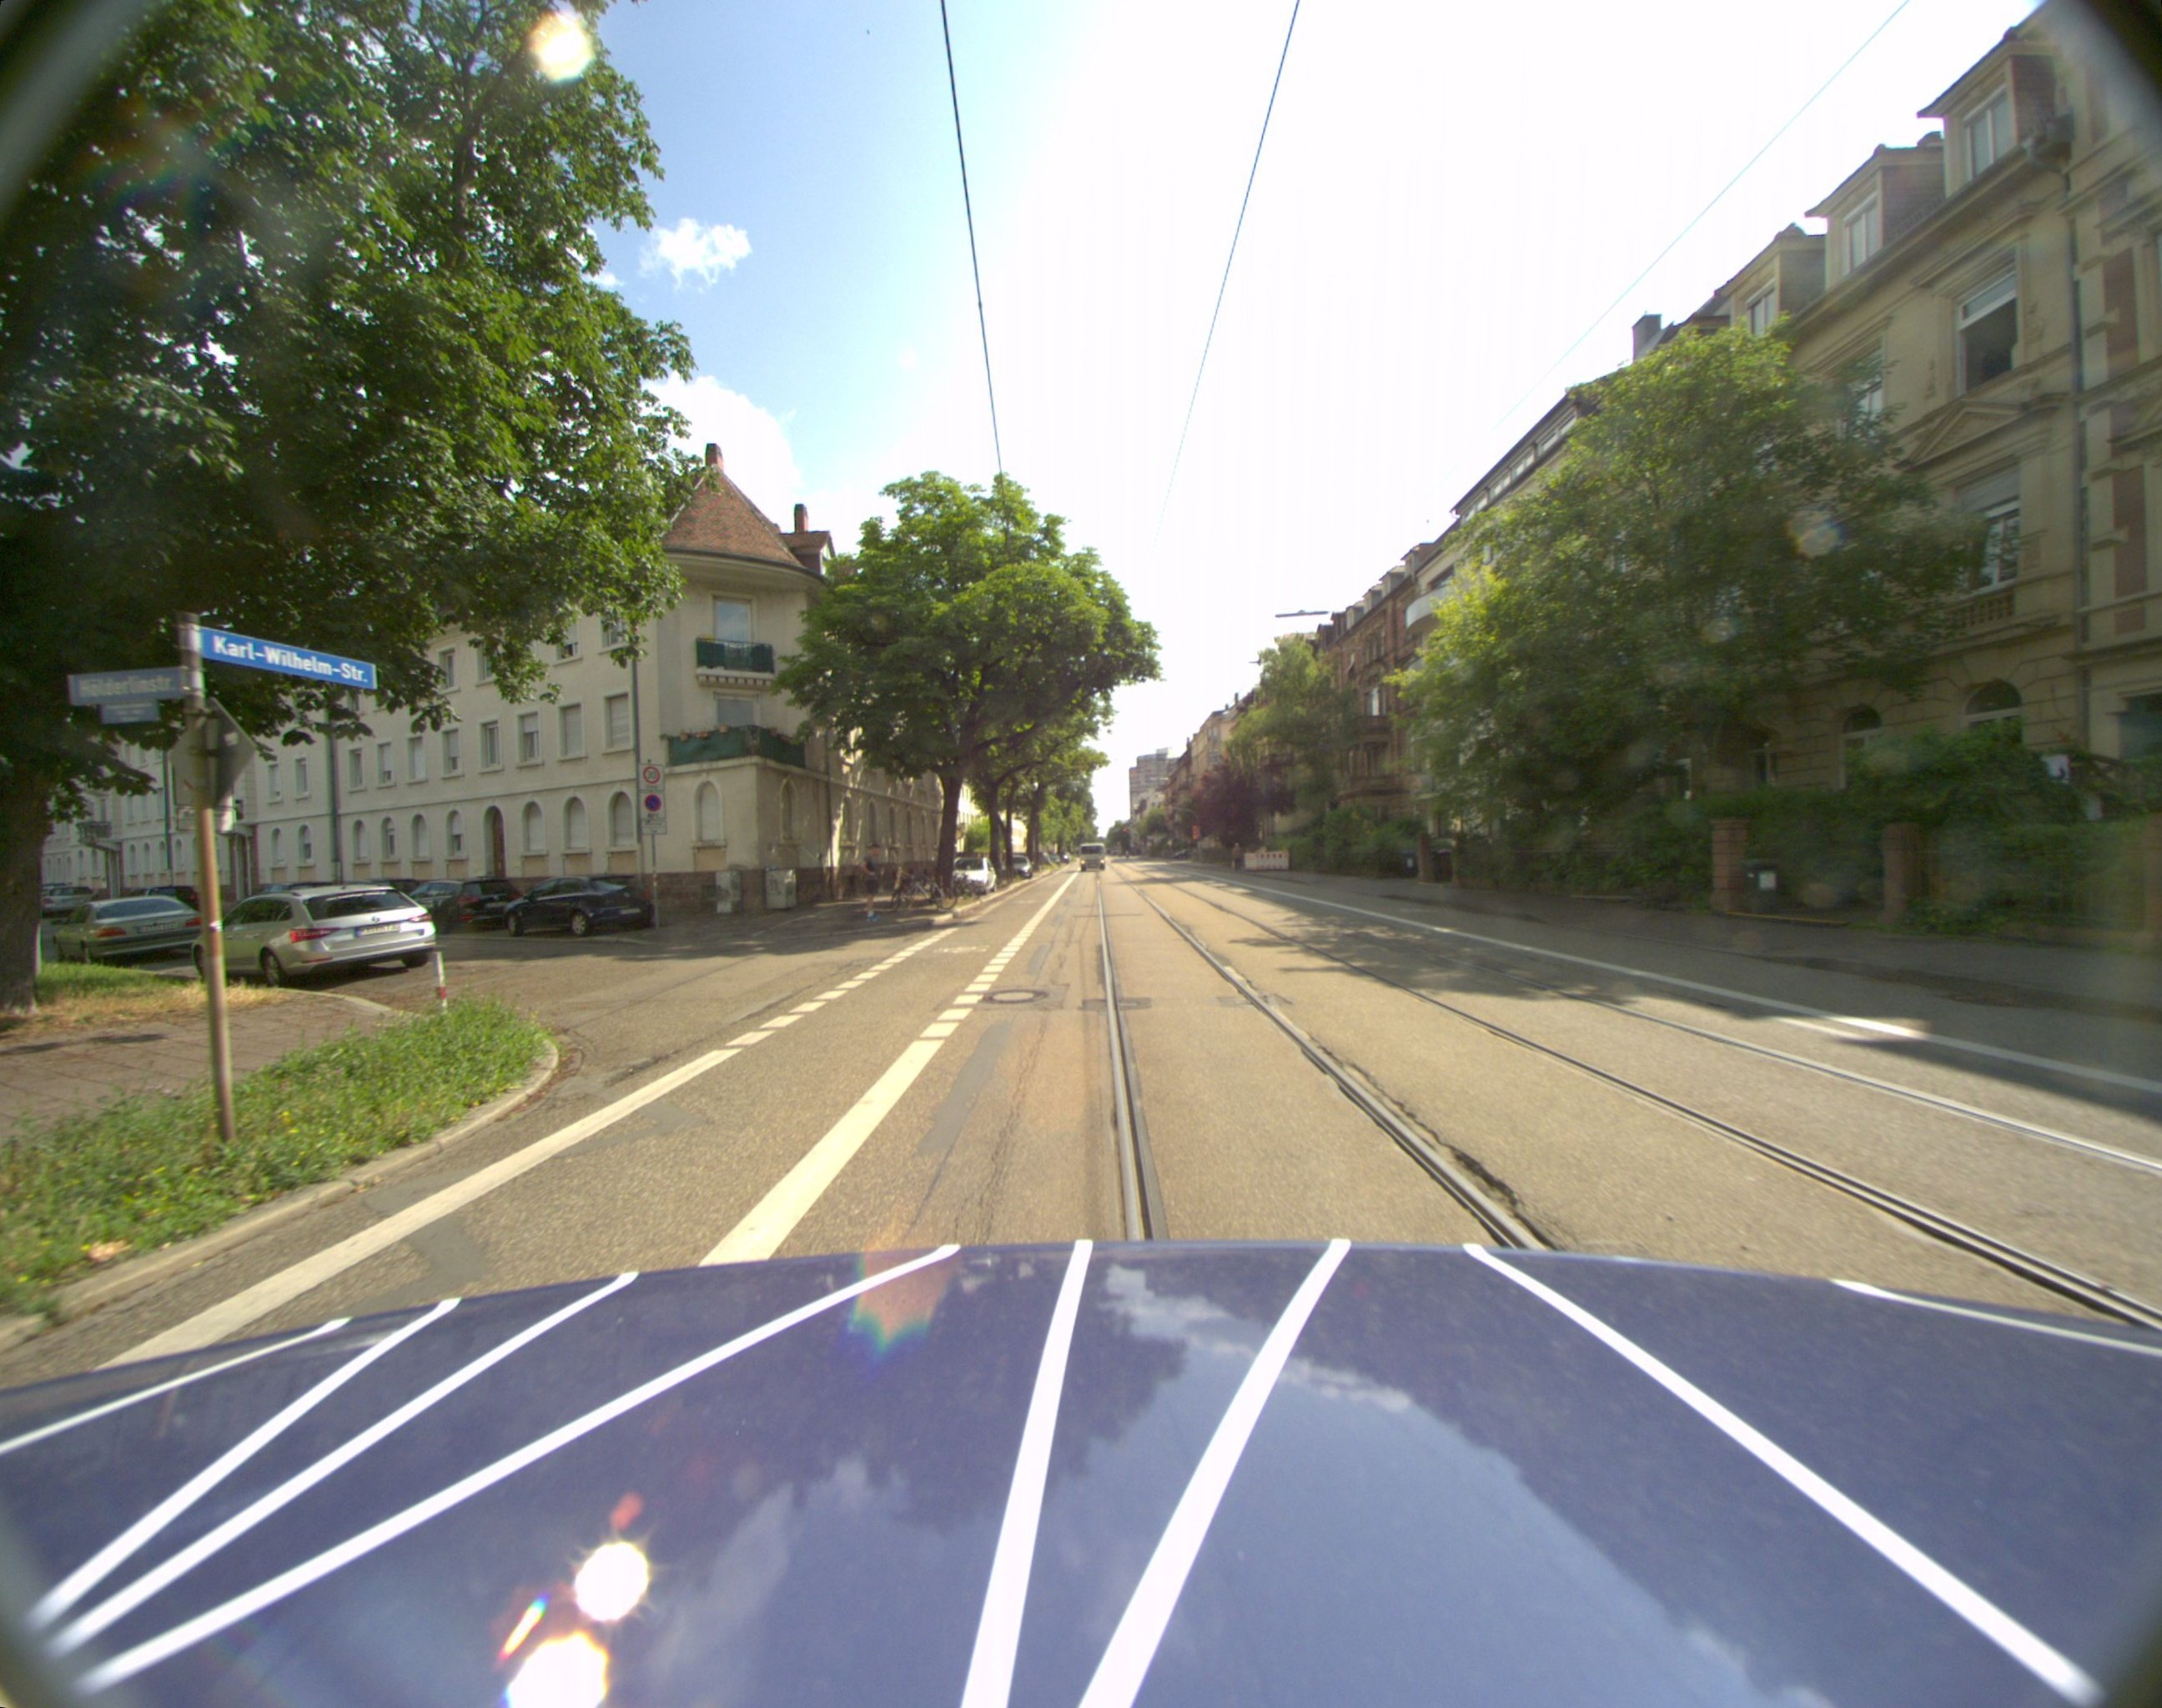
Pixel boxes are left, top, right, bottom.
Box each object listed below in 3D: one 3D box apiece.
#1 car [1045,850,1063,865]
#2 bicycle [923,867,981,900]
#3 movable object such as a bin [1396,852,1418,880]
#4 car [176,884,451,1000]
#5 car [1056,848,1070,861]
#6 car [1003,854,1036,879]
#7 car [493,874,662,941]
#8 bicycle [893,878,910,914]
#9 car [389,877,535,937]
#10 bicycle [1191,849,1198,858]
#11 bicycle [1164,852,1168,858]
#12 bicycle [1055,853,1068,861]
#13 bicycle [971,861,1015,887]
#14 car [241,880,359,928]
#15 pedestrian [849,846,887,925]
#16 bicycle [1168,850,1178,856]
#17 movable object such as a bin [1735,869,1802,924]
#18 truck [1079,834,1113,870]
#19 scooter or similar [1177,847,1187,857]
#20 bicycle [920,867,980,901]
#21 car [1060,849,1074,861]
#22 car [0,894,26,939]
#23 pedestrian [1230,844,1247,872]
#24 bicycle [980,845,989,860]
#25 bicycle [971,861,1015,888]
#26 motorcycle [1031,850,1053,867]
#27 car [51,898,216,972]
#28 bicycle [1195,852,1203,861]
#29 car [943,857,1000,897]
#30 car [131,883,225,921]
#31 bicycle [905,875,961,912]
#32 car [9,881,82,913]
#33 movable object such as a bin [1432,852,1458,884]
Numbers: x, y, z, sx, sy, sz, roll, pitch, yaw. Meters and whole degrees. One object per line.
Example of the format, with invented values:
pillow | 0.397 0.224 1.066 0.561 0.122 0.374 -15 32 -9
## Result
car | -2.993 0.397 86.099 1.710 1.470 4.196 -4 1 1
bicycle | -4.456 1.024 26.260 1.908 1.066 0.402 -2 1 1
movable object such as a bin | 12.960 0.468 30.228 0.539 1.088 0.789 -2 2 2
car | -12.628 1.313 12.459 4.563 1.467 1.872 -2 2 28
car | -2.484 0.060 106.119 1.831 1.772 4.733 -2 0 1
car | -3.782 0.740 47.475 1.851 1.401 4.393 0 1 -2
car | -12.169 1.254 18.390 3.556 1.398 1.711 -2 2 24
bicycle | -5.038 1.163 21.375 0.259 0.895 1.771 -1 1 -7
car | -16.957 1.419 20.801 3.710 1.416 1.665 -2 2 27
bicycle | 12.624 -0.082 84.533 0.531 0.941 1.968 -2 1 1
bicycle | 13.376 0.140 119.379 0.422 0.971 1.949 -2 0 0
bicycle | -2.549 0.384 101.036 1.712 1.001 0.638 -1 1 1
bicycle | -4.057 0.913 35.222 1.940 1.169 0.513 -1 2 13
car | -26.946 1.680 26.205 3.734 1.472 1.714 -2 1 26
pedestrian | -5.079 0.733 18.154 0.612 1.826 0.878 -2 3 -1
bicycle | 13.886 -0.169 114.952 1.456 0.971 0.404 -2 1 1
movable object such as a bin | 11.574 0.708 12.801 0.563 0.871 0.616 -2 1 1
truck | 1.130 -0.138 62.380 2.532 2.722 6.514 -2 0 -1
scooter or similar | 14.122 -0.283 106.279 1.367 1.228 0.403 -3 1 -27
bicycle | -4.451 1.021 25.856 1.908 1.066 0.402 -2 1 1
car | -2.126 0.105 115.879 1.867 1.643 4.637 -2 0 1
car | -36.456 2.076 24.799 3.734 1.392 1.714 -2 1 26
pedestrian | 10.051 0.248 48.462 0.825 1.696 0.891 -2 1 -2
bicycle | -7.759 -0.106 61.051 0.413 1.204 1.704 -2 1 2
bicycle | -4.027 0.935 34.692 1.897 1.169 0.513 -1 2 13
motorcycle | -3.668 0.414 70.959 0.680 1.588 2.380 -3 1 -42
car | -21.537 1.765 17.251 3.812 1.372 1.589 -2 2 28
bicycle | 12.581 0.260 81.019 0.531 0.941 1.968 -2 1 1
car | -4.296 0.877 30.286 1.670 1.422 3.766 0 1 1
car | -39.370 2.077 33.117 3.734 1.472 1.714 -2 1 26
bicycle | -4.100 1.103 21.109 1.495 0.978 0.259 -1 1 3
car | -57.973 2.389 42.522 3.734 1.635 1.714 -2 1 26
movable object such as a bin | 12.700 0.479 26.540 0.550 1.102 0.789 -2 1 6
